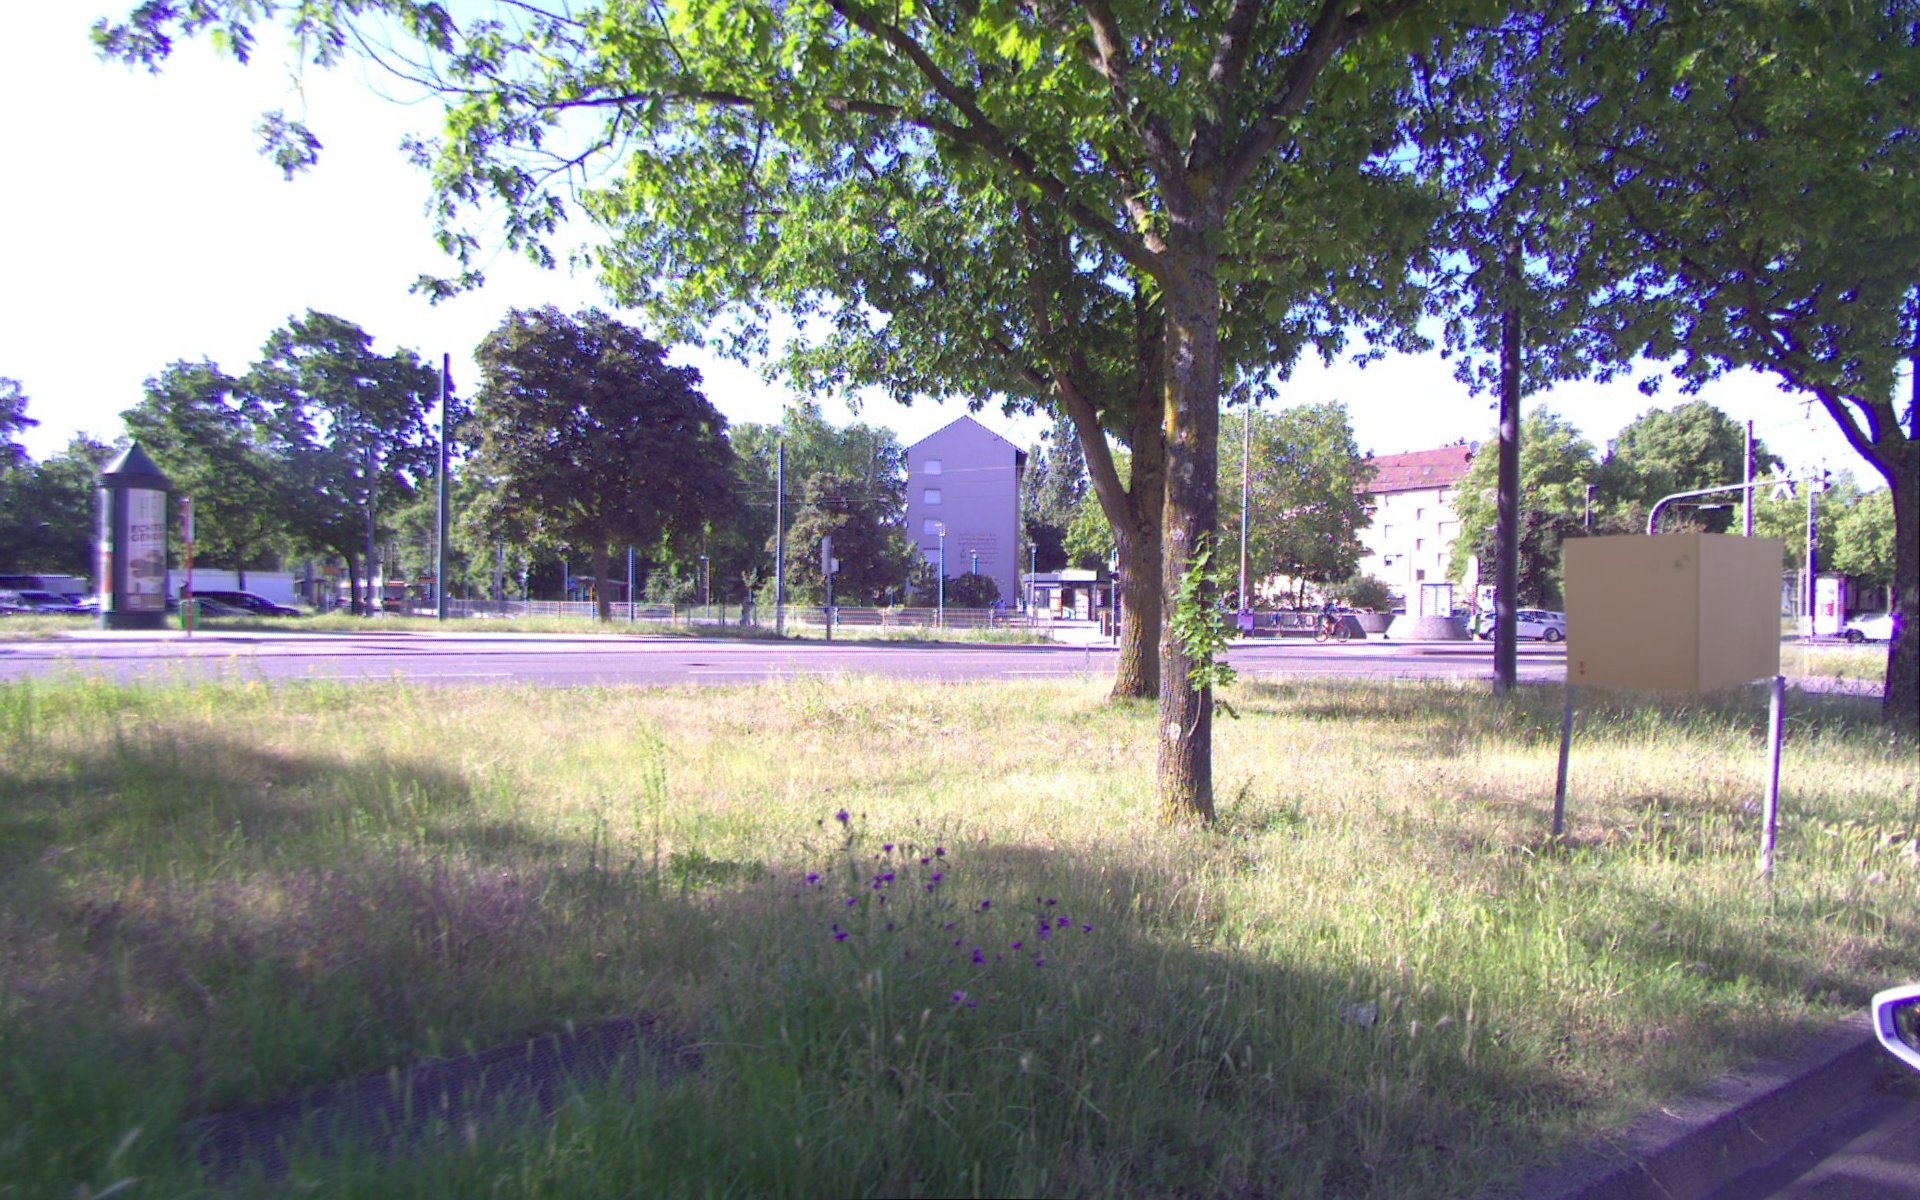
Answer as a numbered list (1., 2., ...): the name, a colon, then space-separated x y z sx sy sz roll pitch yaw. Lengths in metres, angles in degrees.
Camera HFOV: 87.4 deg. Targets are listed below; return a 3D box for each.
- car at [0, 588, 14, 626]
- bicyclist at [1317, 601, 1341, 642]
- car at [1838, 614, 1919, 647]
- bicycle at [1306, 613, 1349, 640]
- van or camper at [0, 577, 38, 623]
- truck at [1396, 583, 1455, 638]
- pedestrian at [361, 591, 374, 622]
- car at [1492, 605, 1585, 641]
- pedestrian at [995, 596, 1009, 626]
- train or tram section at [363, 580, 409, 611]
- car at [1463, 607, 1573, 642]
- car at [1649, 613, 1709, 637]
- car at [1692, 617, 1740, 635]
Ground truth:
1. car: -34.474 0.198 34.532 3.932 1.299 1.994 1 0 34
2. bicyclist: 14.517 0.840 39.524 0.666 1.551 0.611 0 2 -22
3. car: 49.171 1.609 52.918 1.974 1.593 3.973 1 0 -26
4. bicycle: 14.453 1.040 39.496 1.634 1.015 0.611 0 2 -22
5. van or camper: -45.691 -0.033 46.205 4.327 2.124 1.994 1 0 -15
6. truck: 26.874 0.585 58.129 1.959 3.035 4.831 1 1 11
7. pedestrian: -36.178 0.424 61.350 0.580 1.880 0.632 1 0 -42
8. car: 30.556 1.198 53.138 3.923 1.741 1.762 0 3 -4
9. pedestrian: 2.588 0.688 62.068 0.714 1.854 0.558 1 0 -10
10. train or tram section: -61.550 -0.526 107.376 2.445 2.979 19.646 1 0 -35
11. car: 28.193 1.210 50.878 4.457 1.565 1.873 1 3 12
12. car: 50.516 1.732 70.536 4.174 1.639 1.753 0 1 -29
13. car: 55.203 1.889 73.322 3.660 1.311 1.586 0 0 -31
